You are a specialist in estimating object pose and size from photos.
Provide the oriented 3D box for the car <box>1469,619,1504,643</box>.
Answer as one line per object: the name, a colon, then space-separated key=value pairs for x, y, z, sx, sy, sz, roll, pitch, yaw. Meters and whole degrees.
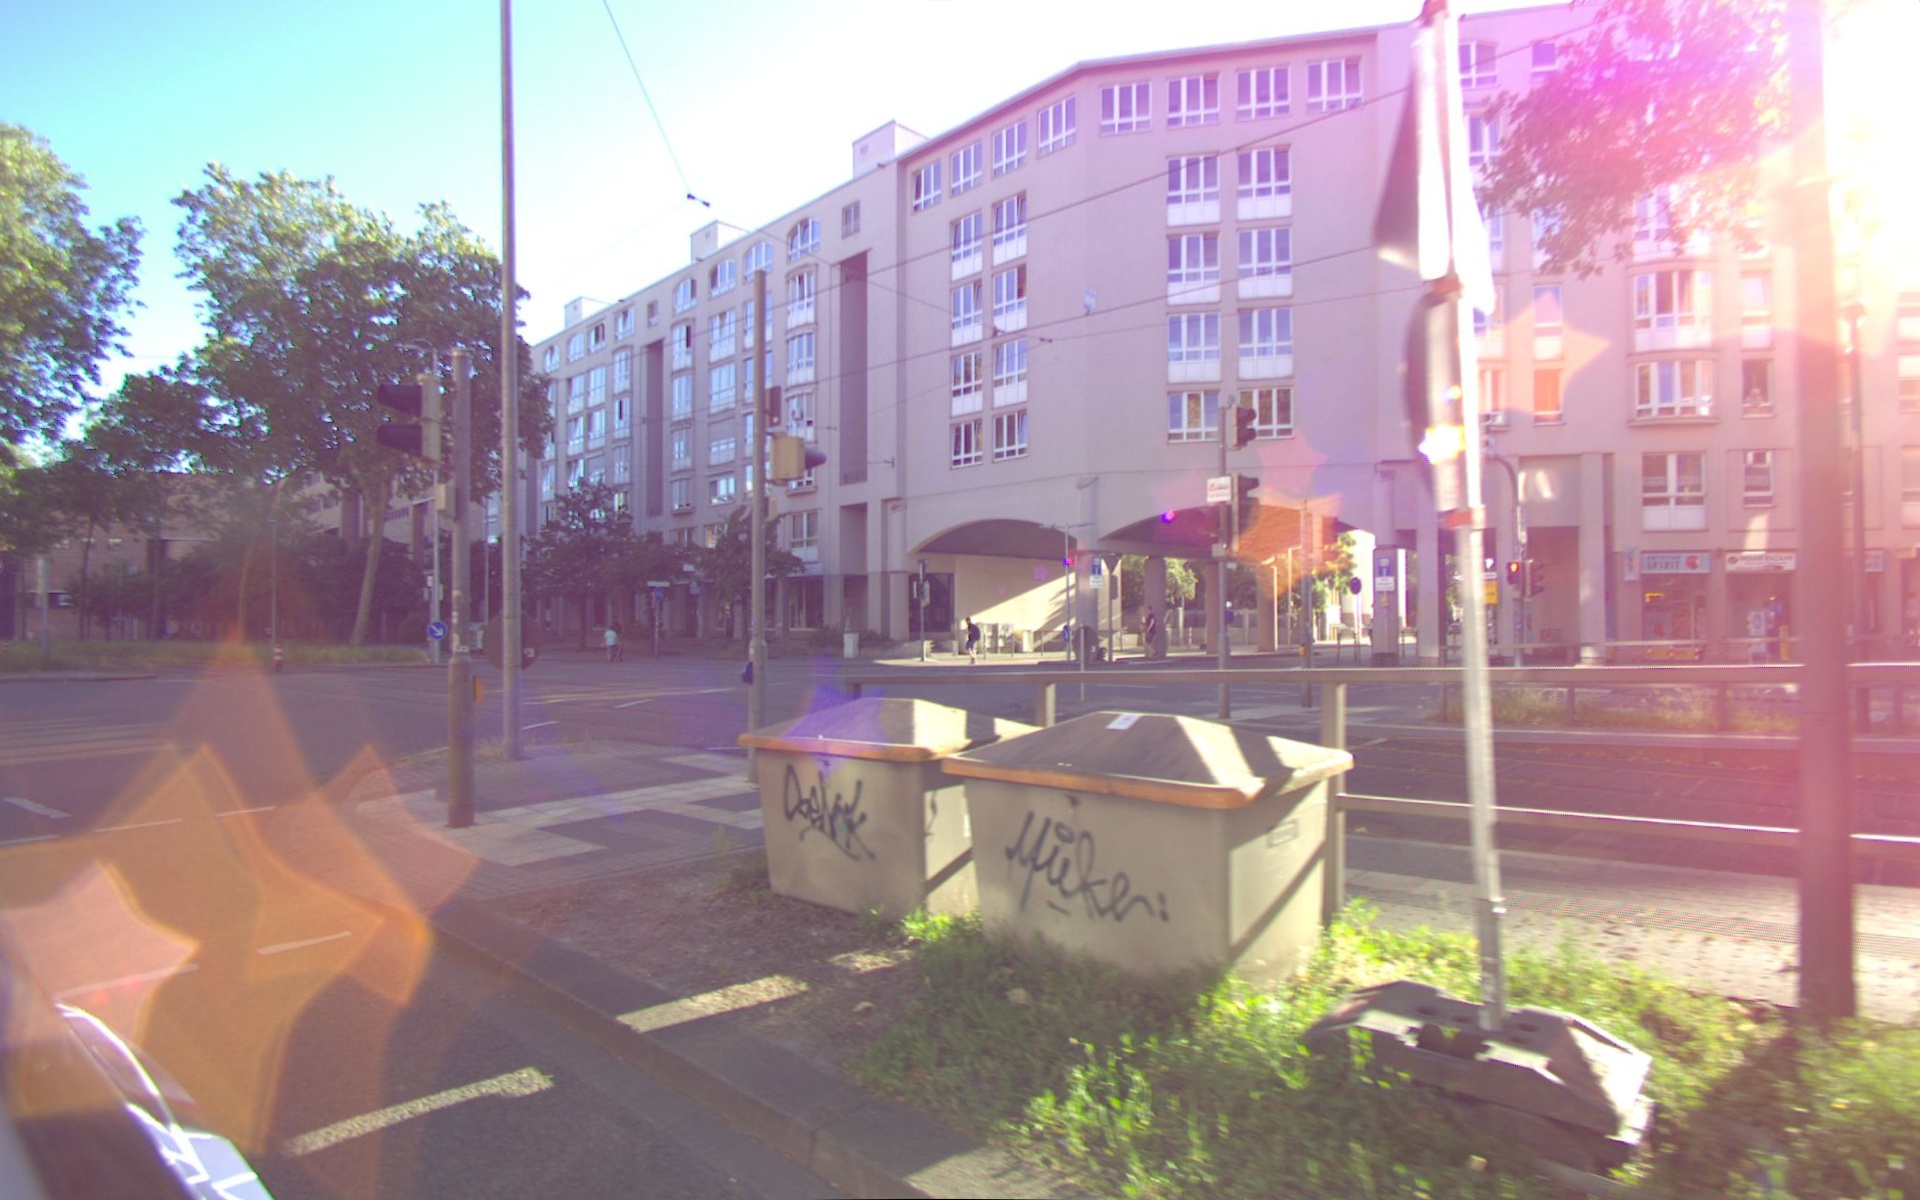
car: x=38.901 y=2.261 z=74.730 sx=1.894 sy=1.742 sz=3.611 roll=-1 pitch=-2 yaw=35

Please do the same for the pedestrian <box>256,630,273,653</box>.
pedestrian: x=-55.508 y=3.293 z=80.752 sx=0.899 sy=1.845 sz=0.816 roll=-2 pitch=-2 yaw=36

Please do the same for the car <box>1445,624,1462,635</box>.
car: x=64.150 y=3.847 z=131.498 sx=1.680 sy=1.405 sz=3.616 roll=-1 pitch=-1 yaw=31

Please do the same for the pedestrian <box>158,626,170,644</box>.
pedestrian: x=-71.411 y=3.137 z=90.829 sx=0.754 sy=1.629 sz=0.658 roll=-2 pitch=-2 yaw=34

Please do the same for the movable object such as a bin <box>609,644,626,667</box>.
movable object such as a bin: x=-14.497 y=2.358 z=42.859 sx=0.504 sy=0.960 sz=0.540 roll=1 pitch=-2 yaw=-42

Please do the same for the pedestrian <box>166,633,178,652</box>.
pedestrian: x=-69.888 y=3.767 z=89.776 sx=0.794 sy=1.735 sz=0.658 roll=-2 pitch=-2 yaw=34

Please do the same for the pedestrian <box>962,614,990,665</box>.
pedestrian: x=0.596 y=1.490 z=38.140 sx=0.749 sy=1.883 sz=0.849 roll=-1 pitch=-2 yaw=29

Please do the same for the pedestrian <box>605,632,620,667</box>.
pedestrian: x=-14.895 y=2.115 z=43.390 sx=0.526 sy=1.515 sz=0.621 roll=0 pitch=-1 yaw=-9

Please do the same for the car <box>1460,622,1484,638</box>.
car: x=44.819 y=2.615 z=88.555 sx=1.680 sy=1.405 sz=3.616 roll=-1 pitch=-1 yaw=31

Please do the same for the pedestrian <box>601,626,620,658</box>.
pedestrian: x=-18.387 y=2.193 z=53.208 sx=0.698 sy=1.651 sz=0.789 roll=1 pitch=-2 yaw=-44

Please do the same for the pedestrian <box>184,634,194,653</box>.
pedestrian: x=-69.383 y=3.911 z=91.069 sx=0.594 sy=1.692 sz=0.606 roll=-2 pitch=-2 yaw=34

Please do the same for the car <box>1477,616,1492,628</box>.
car: x=77.709 y=3.234 z=149.881 sx=1.810 sy=1.854 sz=3.959 roll=-1 pitch=-1 yaw=30

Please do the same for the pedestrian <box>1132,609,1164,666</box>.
pedestrian: x=6.798 y=1.351 z=36.672 sx=0.884 sy=2.029 sz=0.828 roll=-1 pitch=-2 yaw=32

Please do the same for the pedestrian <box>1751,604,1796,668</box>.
pedestrian: x=25.210 y=1.116 z=31.366 sx=0.746 sy=1.957 sz=0.827 roll=0 pitch=-2 yaw=-31

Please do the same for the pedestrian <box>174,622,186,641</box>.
pedestrian: x=-69.750 y=2.817 z=90.489 sx=0.754 sy=1.629 sz=0.658 roll=-2 pitch=-2 yaw=34
